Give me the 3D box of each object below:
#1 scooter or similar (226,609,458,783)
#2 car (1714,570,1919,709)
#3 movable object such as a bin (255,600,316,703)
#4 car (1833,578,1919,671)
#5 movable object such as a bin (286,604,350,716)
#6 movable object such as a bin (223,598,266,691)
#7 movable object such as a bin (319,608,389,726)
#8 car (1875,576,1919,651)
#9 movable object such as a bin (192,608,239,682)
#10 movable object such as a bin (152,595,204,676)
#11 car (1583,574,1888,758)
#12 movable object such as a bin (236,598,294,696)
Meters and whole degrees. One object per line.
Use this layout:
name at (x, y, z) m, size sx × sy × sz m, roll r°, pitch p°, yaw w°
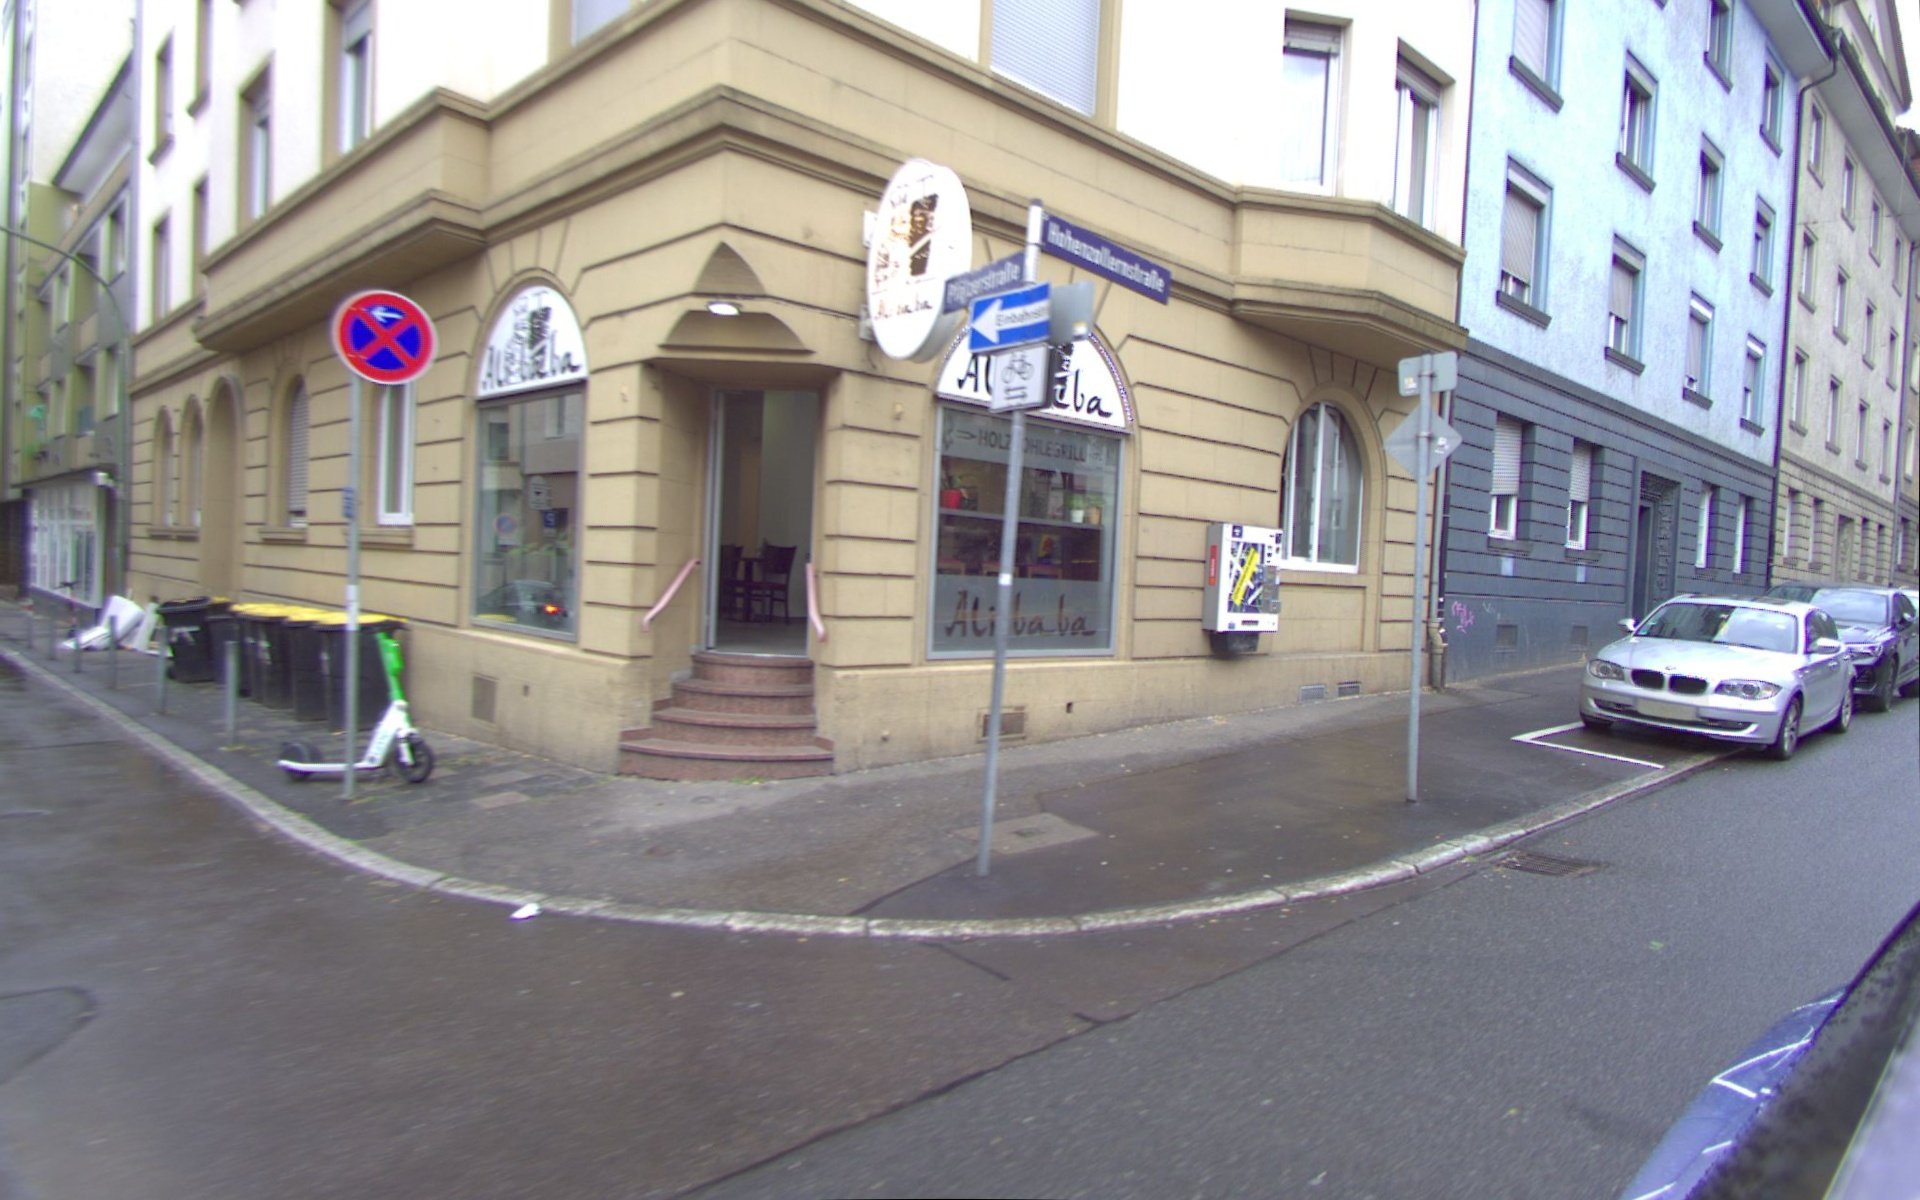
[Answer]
scooter or similar at (-4.363, 0.673, 7.174) m, size 1.354 × 1.142 × 0.466 m, roll -1°, pitch 4°, yaw 9°
car at (12.317, 0.415, 14.138) m, size 4.216 × 1.576 × 1.823 m, roll -1°, pitch 5°, yaw -39°
movable object such as a bin at (-7.332, 0.546, 11.010) m, size 0.347 × 1.058 × 0.454 m, roll 2°, pitch 3°, yaw 41°
car at (17.021, 0.393, 18.028) m, size 3.531 × 1.446 × 1.587 m, roll -1°, pitch 6°, yaw -40°
movable object such as a bin at (-6.429, 0.586, 10.133) m, size 0.347 × 1.079 × 0.436 m, roll -1°, pitch 1°, yaw 40°
movable object such as a bin at (-8.410, 0.518, 11.894) m, size 0.386 × 1.058 × 0.332 m, roll -1°, pitch 1°, yaw 45°
movable object such as a bin at (-5.648, 0.603, 9.438) m, size 0.515 × 1.059 × 0.343 m, roll 0°, pitch -1°, yaw -39°
car at (20.770, 0.286, 21.225) m, size 3.903 × 1.446 × 1.734 m, roll -1°, pitch 6°, yaw -40°
movable object such as a bin at (-9.488, 0.562, 12.895) m, size 0.336 × 0.902 × 0.417 m, roll -1°, pitch 1°, yaw 45°
movable object such as a bin at (-10.048, 0.445, 13.011) m, size 0.494 × 1.008 × 0.448 m, roll -2°, pitch 1°, yaw -36°
car at (8.162, 0.516, 10.527) m, size 4.016 × 1.481 × 1.574 m, roll -1°, pitch 5°, yaw -39°
movable object such as a bin at (-7.841, 0.517, 11.417) m, size 0.348 × 1.058 × 0.453 m, roll -1°, pitch 1°, yaw 45°
